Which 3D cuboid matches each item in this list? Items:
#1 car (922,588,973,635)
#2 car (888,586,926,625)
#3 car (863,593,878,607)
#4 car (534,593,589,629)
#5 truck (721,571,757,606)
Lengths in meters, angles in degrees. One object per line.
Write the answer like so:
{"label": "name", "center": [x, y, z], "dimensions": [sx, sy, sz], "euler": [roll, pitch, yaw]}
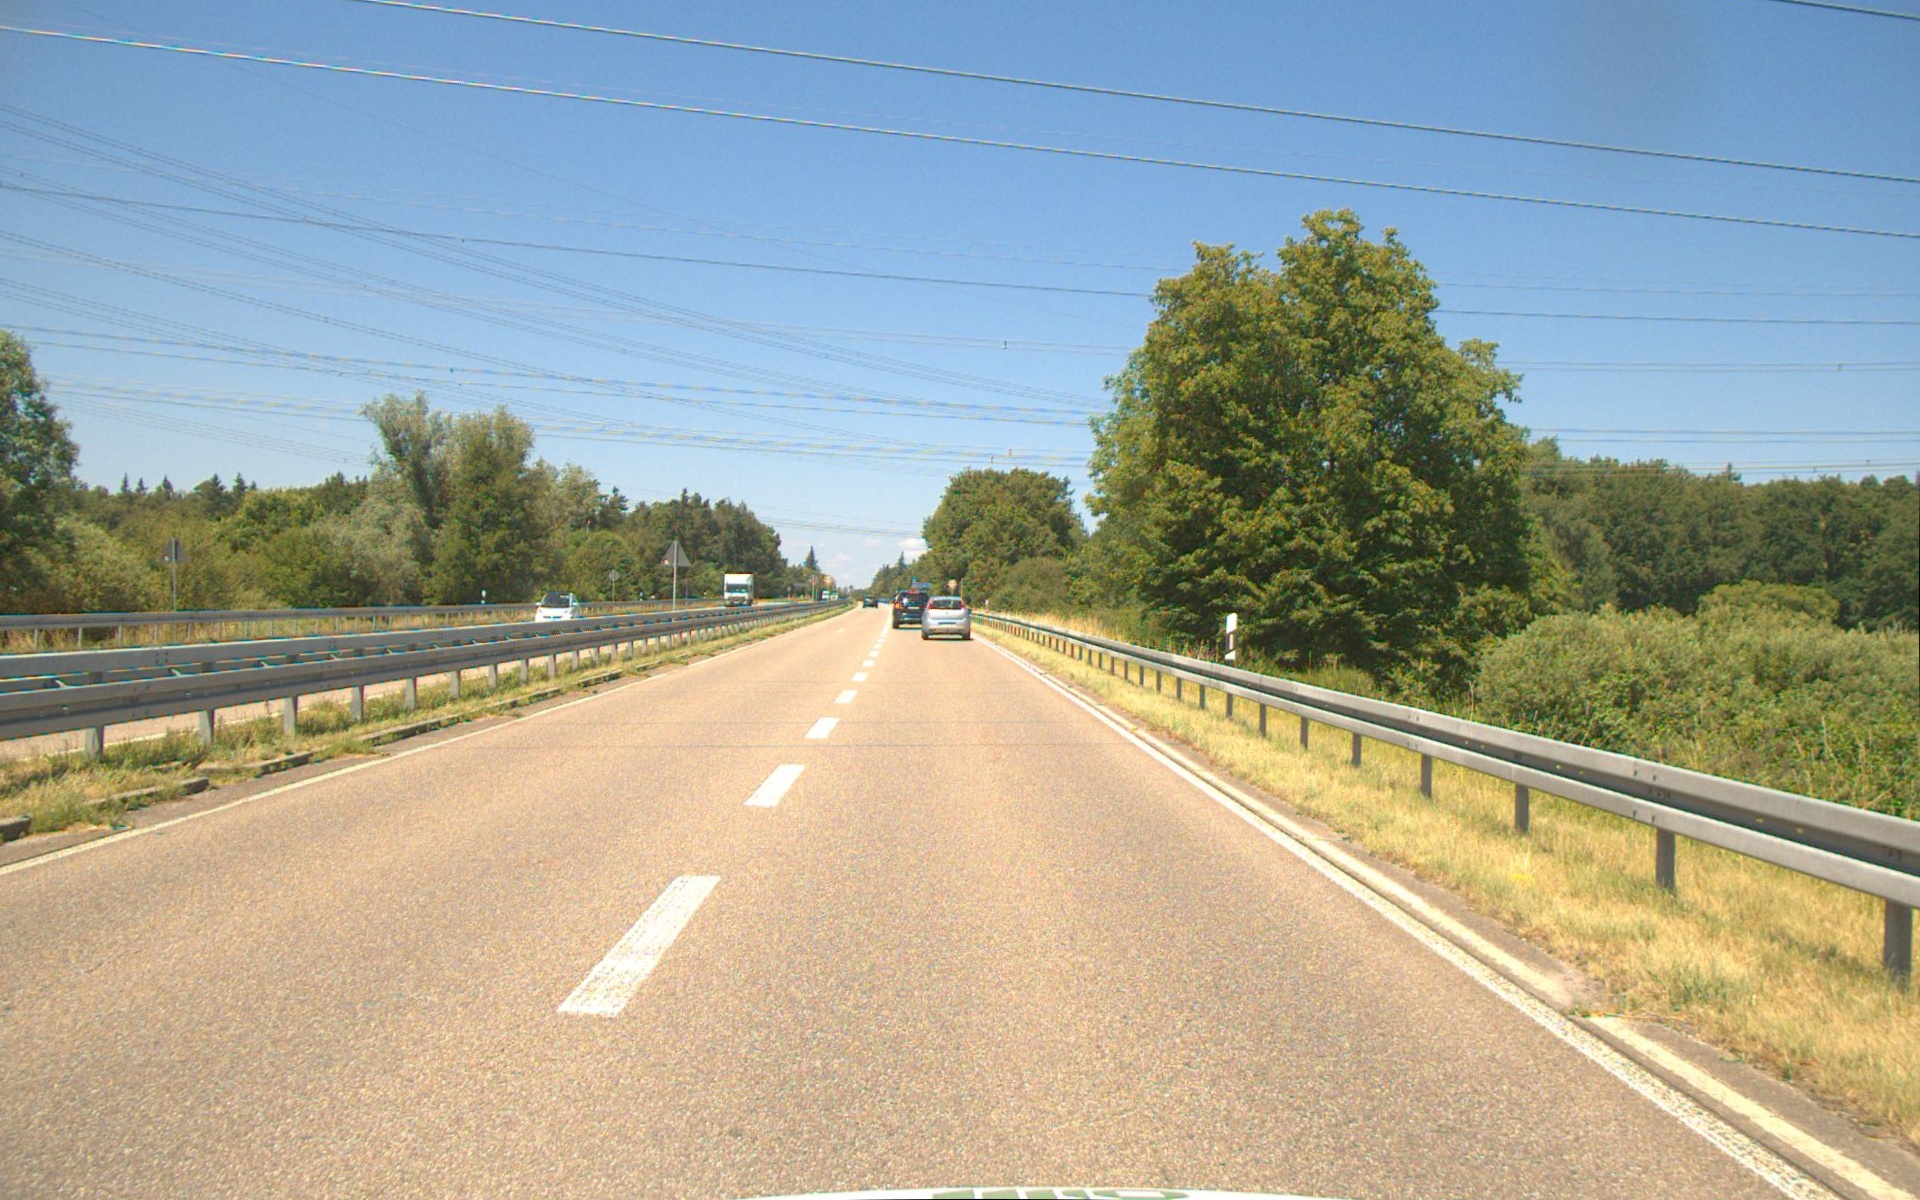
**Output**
{"label": "car", "center": [-0.455, 0.393, 57.533], "dimensions": [1.607, 1.493, 3.417], "euler": [3, 0, -2]}
{"label": "car", "center": [-2.484, 0.267, 76.940], "dimensions": [1.607, 1.682, 3.572], "euler": [3, 0, -3]}
{"label": "car", "center": [-10.630, -0.023, 195.493], "dimensions": [1.678, 1.497, 3.572], "euler": [3, 0, -3]}
{"label": "car", "center": [-16.640, 0.441, 69.219], "dimensions": [1.502, 1.475, 3.700], "euler": [1, 0, -2]}
{"label": "truck", "center": [-21.452, -1.115, 160.816], "dimensions": [2.663, 3.249, 8.401], "euler": [0, 0, -2]}
